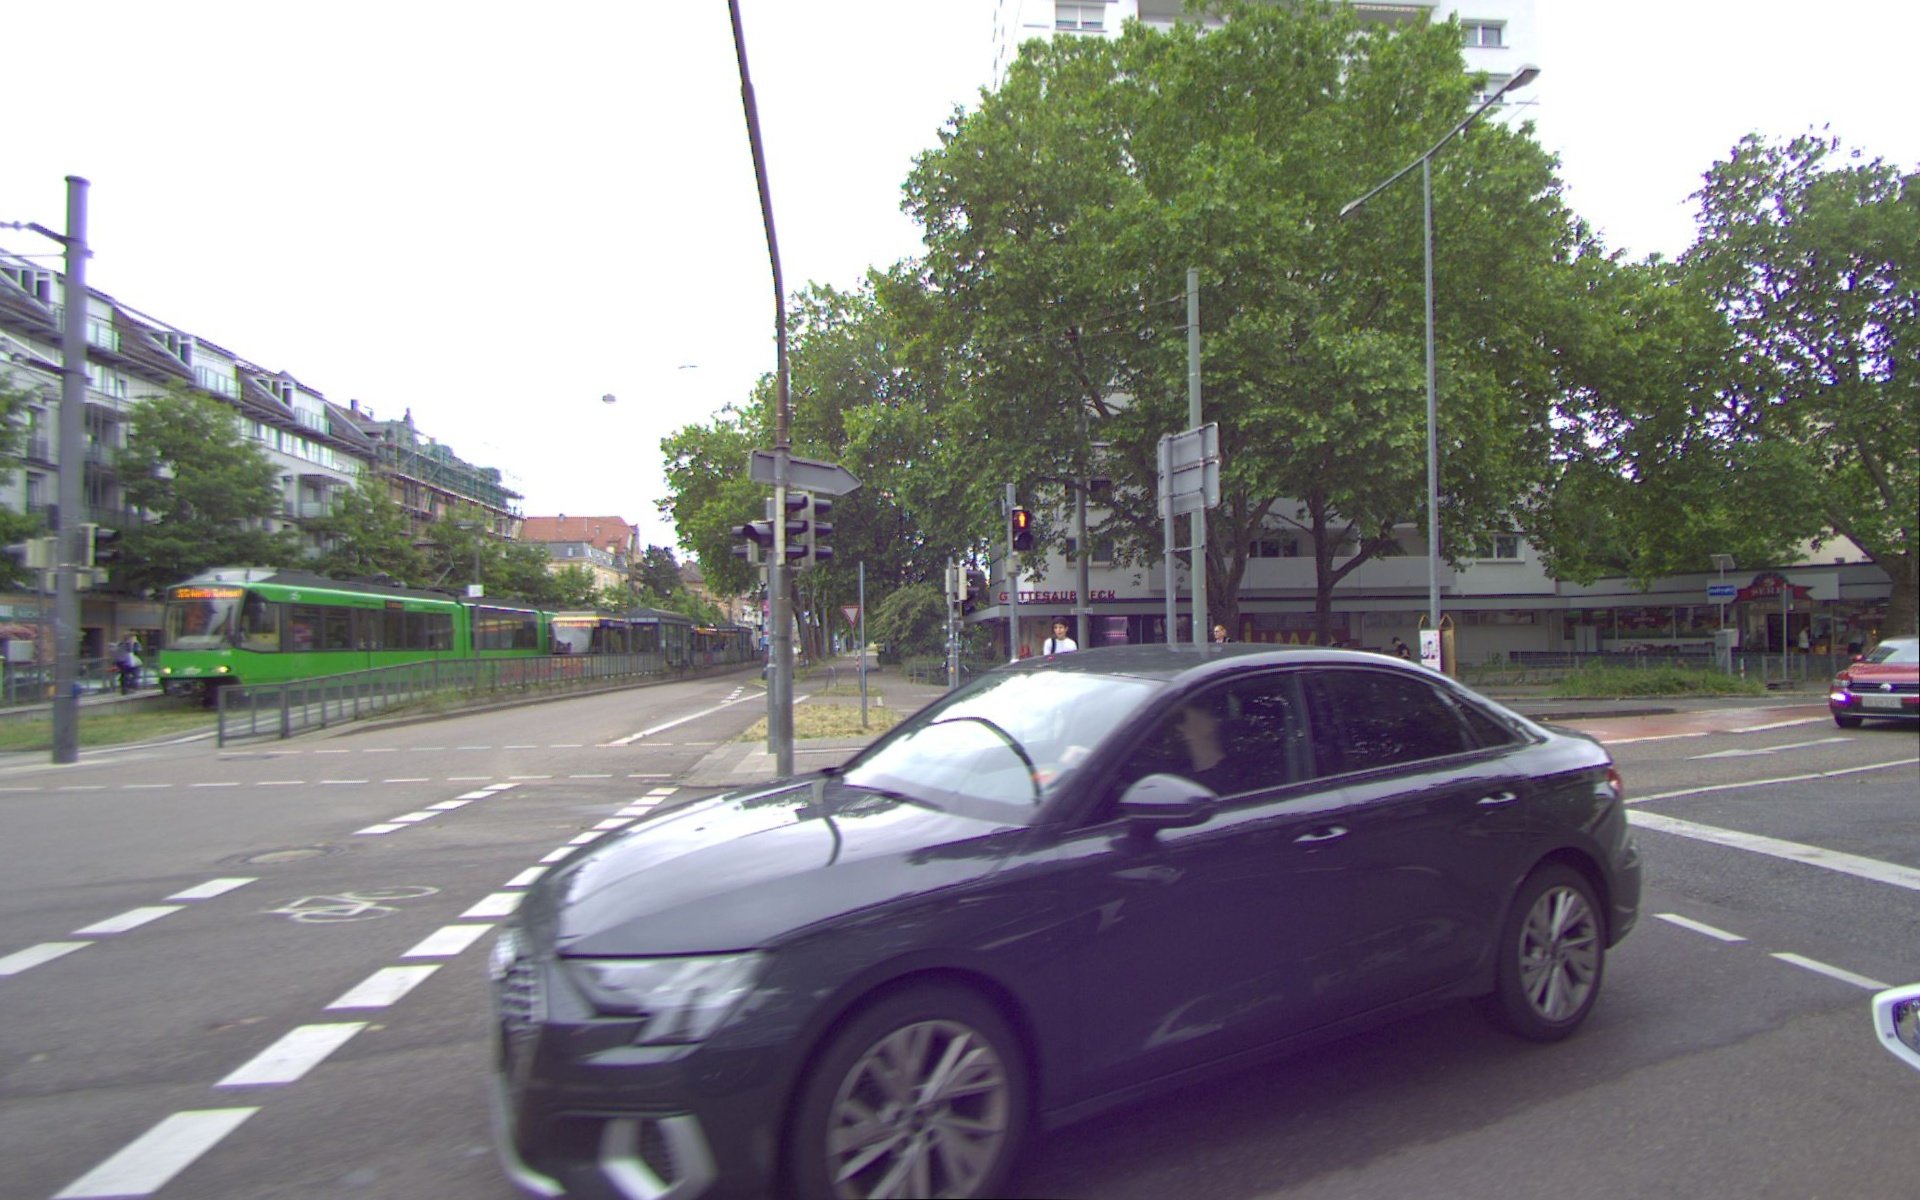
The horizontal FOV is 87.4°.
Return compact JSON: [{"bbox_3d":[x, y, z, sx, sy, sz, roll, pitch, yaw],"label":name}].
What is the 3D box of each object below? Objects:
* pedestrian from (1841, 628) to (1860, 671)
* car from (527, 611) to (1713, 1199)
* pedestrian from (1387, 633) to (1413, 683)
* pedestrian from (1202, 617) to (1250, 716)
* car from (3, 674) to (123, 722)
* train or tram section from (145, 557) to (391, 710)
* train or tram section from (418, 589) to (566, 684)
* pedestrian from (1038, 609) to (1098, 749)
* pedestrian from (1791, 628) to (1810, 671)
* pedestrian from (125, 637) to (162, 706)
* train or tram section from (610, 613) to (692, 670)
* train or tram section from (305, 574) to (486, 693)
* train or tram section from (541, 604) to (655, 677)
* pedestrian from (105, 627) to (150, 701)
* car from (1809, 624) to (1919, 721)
[{"bbox_3d":[35.218,1.949,39.723,0.510,1.702,0.508,-3,-3,43],"label":"pedestrian"},{"bbox_3d":[0.748,0.801,3.824,4.264,1.446,1.801,0,-3,-29],"label":"car"},{"bbox_3d":[14.085,1.850,32.167,0.611,1.565,0.421,-1,-2,-6],"label":"pedestrian"},{"bbox_3d":[4.938,1.224,18.682,0.611,1.808,0.573,0,-2,-21],"label":"pedestrian"},{"bbox_3d":[-34.127,3.692,38.378,1.785,1.545,3.988,0,-2,-15],"label":"car"},{"bbox_3d":[-19.488,1.001,28.968,2.635,3.810,7.258,-1,-2,-6],"label":"train or tram section"},{"bbox_3d":[-21.170,1.715,46.298,2.635,3.810,11.056,-1,-2,-6],"label":"train or tram section"},{"bbox_3d":[1.433,1.043,13.427,0.498,1.808,0.699,0,-2,-22],"label":"pedestrian"},{"bbox_3d":[34.139,2.003,40.800,0.514,1.702,0.504,1,-3,-45],"label":"pedestrian"},{"bbox_3d":[-22.668,1.982,27.902,0.604,1.889,0.481,-1,-2,-6],"label":"pedestrian"},{"bbox_3d":[-20.073,2.767,66.166,2.573,3.341,13.007,-1,-3,-6],"label":"train or tram section"},{"bbox_3d":[-20.240,1.275,36.698,2.635,3.810,8.295,-1,-2,-6],"label":"train or tram section"},{"bbox_3d":[-18.867,2.171,53.389,2.573,3.341,13.007,-1,-3,-6],"label":"train or tram section"},{"bbox_3d":[-21.941,1.679,26.492,0.577,1.889,0.733,-1,-2,-6],"label":"pedestrian"},{"bbox_3d":[16.359,1.143,16.894,4.117,1.472,1.845,0,-2,-29],"label":"car"}]
